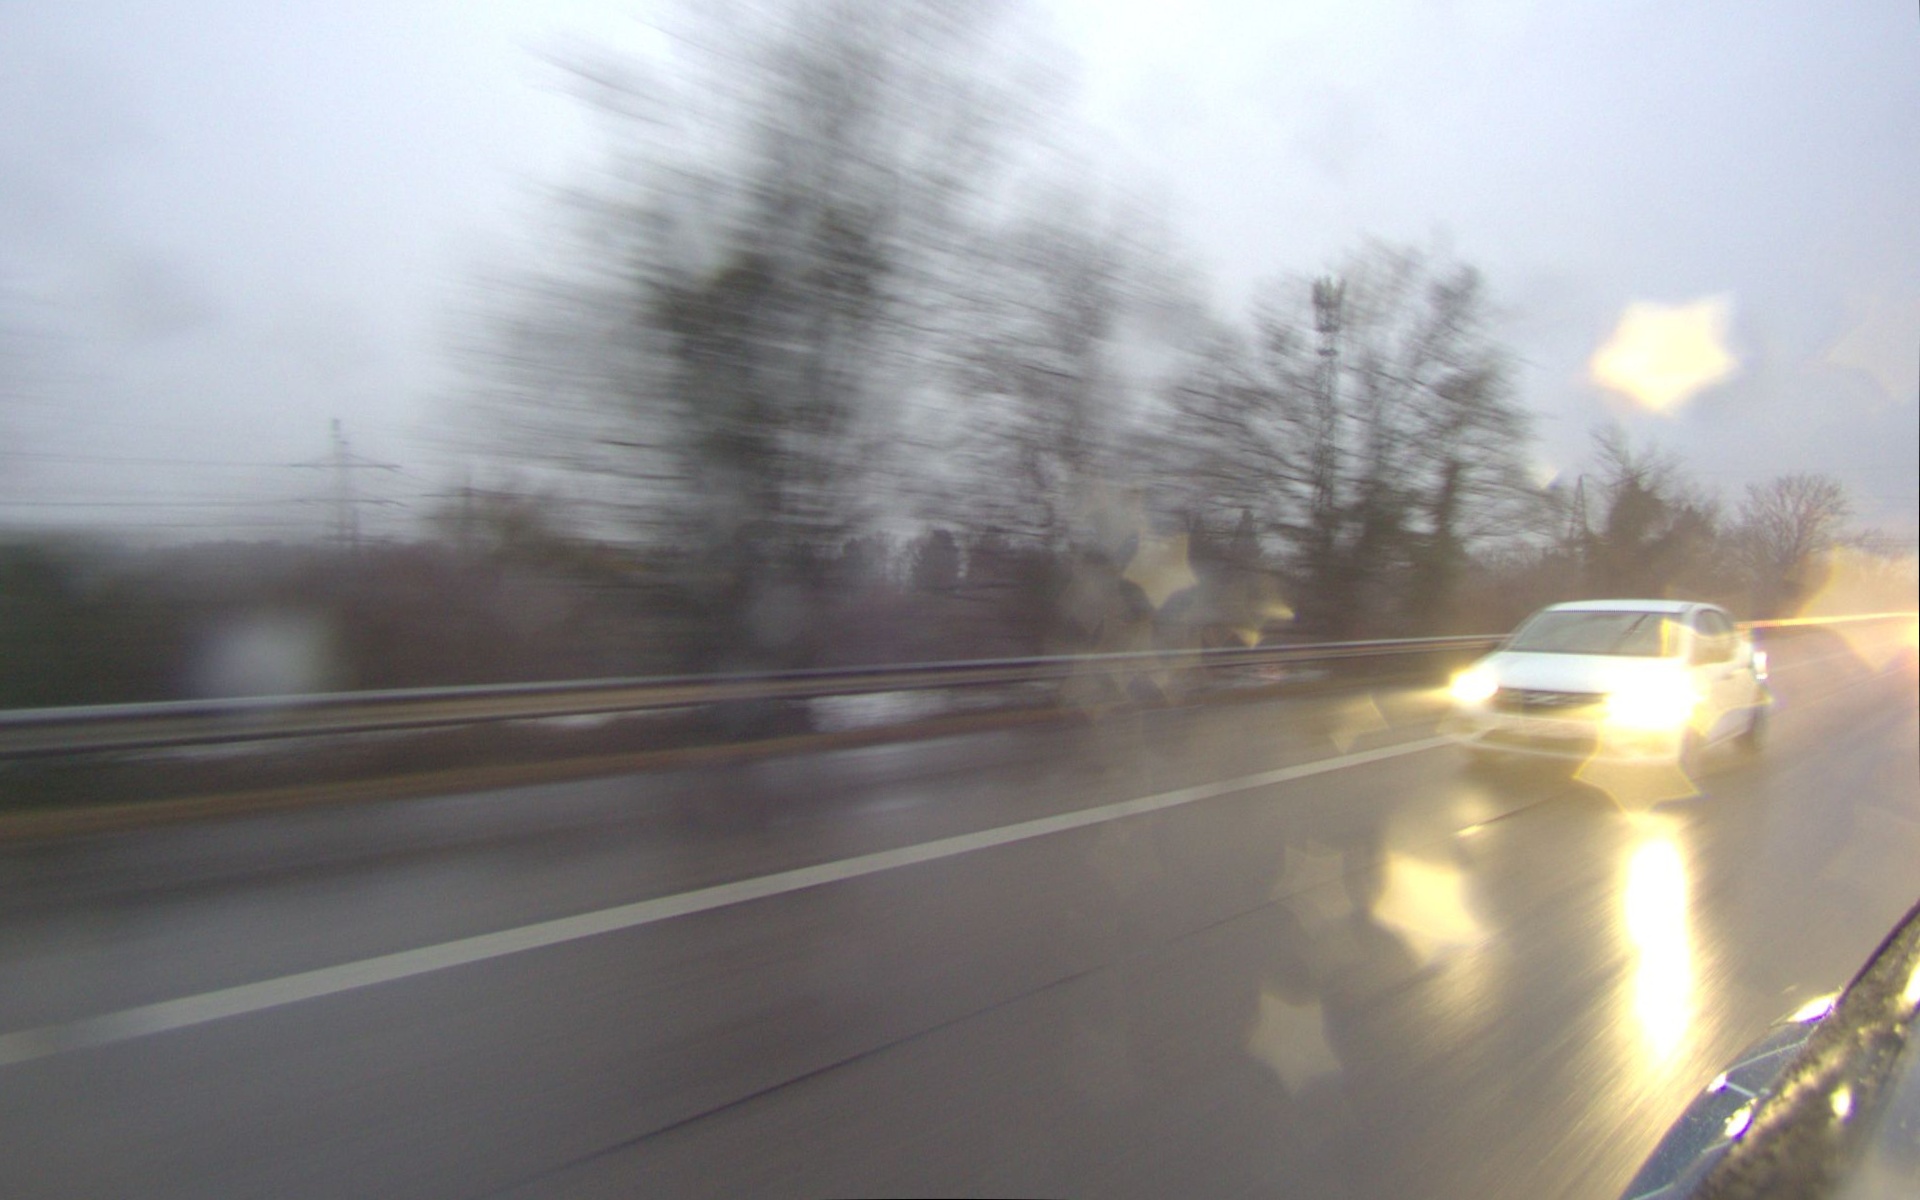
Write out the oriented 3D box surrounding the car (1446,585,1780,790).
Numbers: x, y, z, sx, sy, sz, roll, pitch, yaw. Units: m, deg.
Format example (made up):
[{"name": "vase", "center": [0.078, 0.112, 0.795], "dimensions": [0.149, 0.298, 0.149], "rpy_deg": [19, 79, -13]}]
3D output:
[{"name": "car", "center": [6.272, 0.670, 9.537], "dimensions": [3.933, 1.522, 1.799], "rpy_deg": [1, -1, -44]}]
